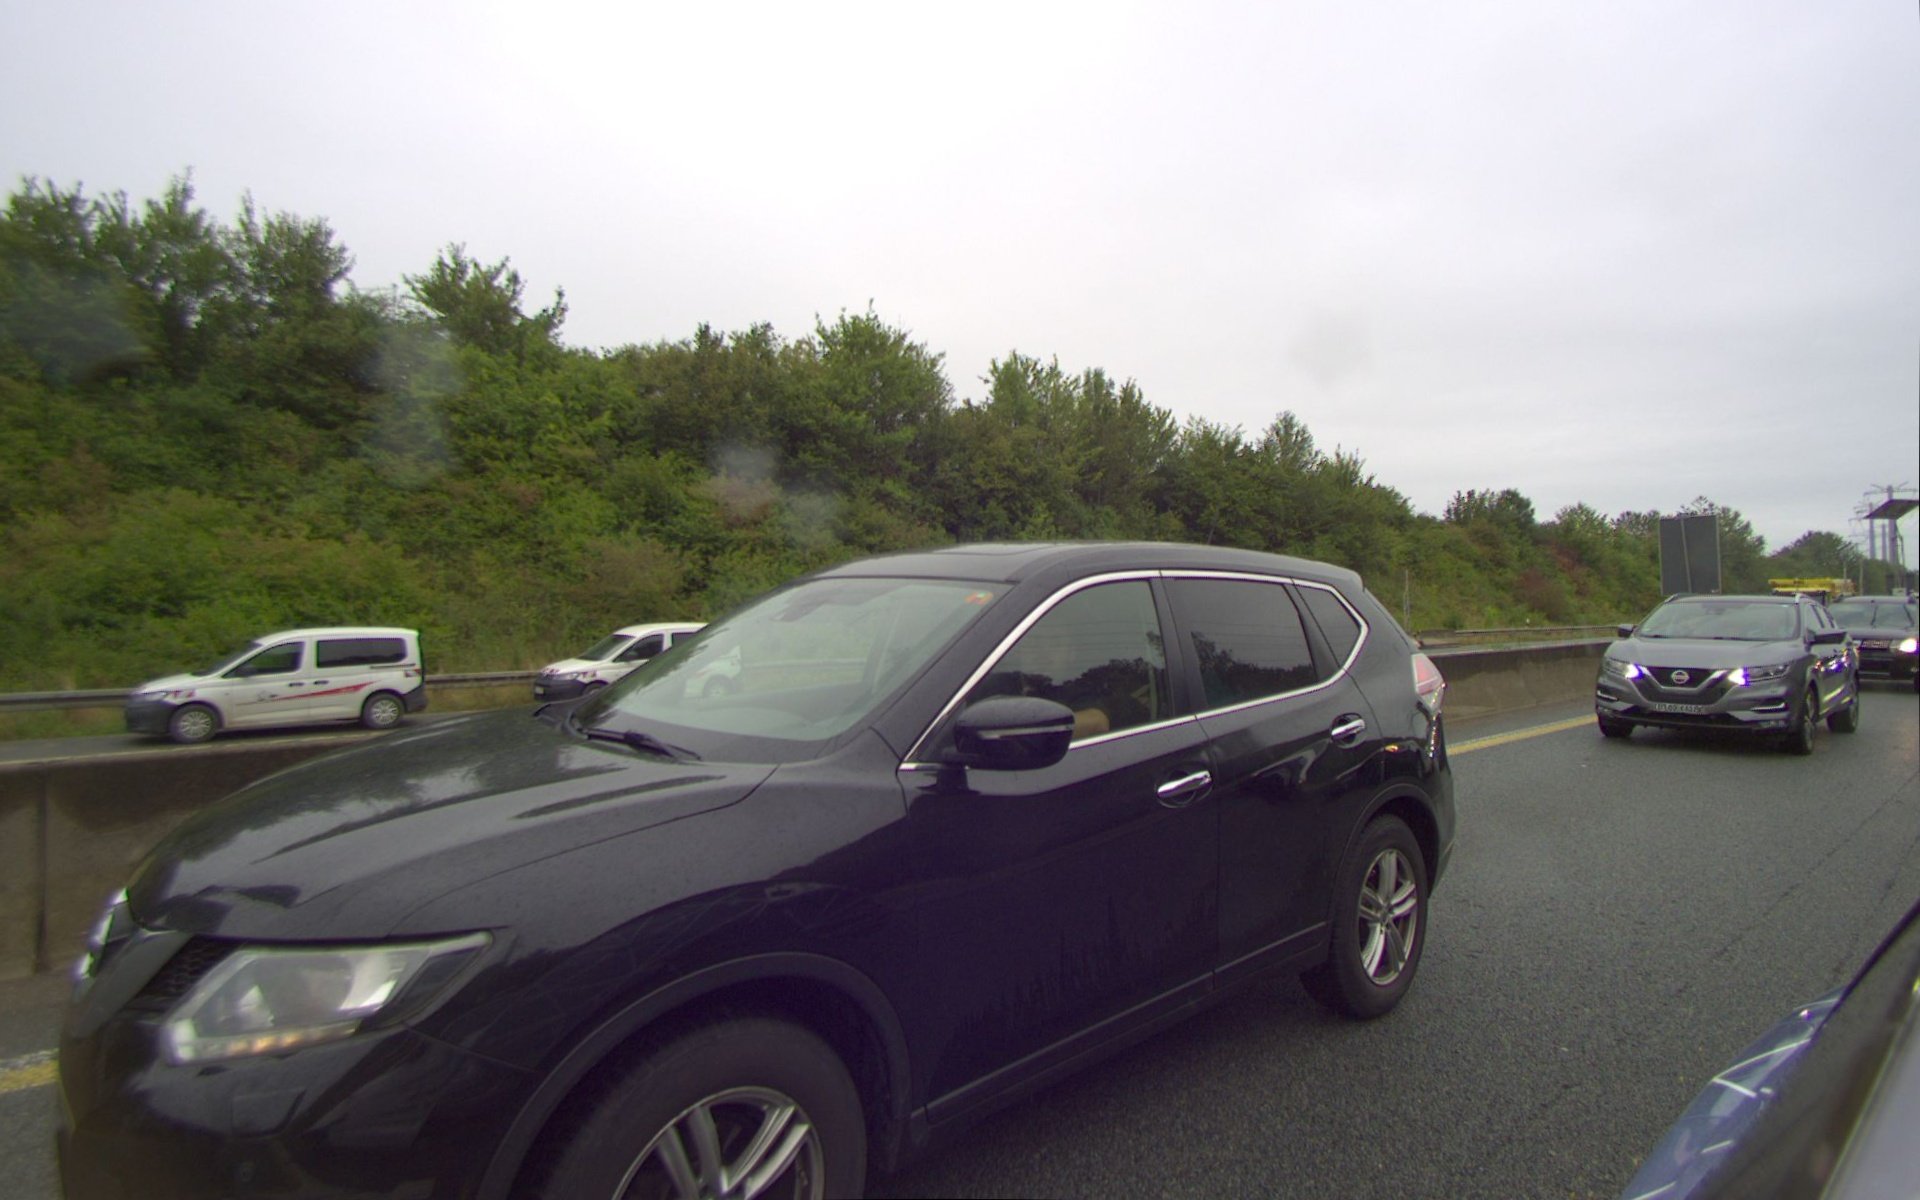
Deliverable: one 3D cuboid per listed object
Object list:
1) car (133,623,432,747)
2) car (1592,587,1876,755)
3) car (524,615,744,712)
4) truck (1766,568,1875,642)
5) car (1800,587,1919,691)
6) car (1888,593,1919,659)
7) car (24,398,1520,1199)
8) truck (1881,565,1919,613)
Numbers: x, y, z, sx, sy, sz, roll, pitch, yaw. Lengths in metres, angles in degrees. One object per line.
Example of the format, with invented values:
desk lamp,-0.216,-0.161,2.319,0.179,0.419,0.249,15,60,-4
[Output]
car,-11.843,1.377,17.854,4.195,1.780,1.731,-1,1,-42
car,8.627,0.621,11.151,4.053,1.509,1.782,-1,1,-42
car,-7.035,1.289,22.080,4.255,1.792,1.731,-1,1,-42
truck,43.721,0.196,51.294,9.405,3.467,2.618,-1,0,-40
car,16.220,0.592,17.702,4.053,1.618,1.782,-1,1,-42
car,24.143,0.596,24.727,4.053,1.509,1.782,-1,1,-42
car,0.009,0.589,3.392,4.561,1.696,1.892,-1,1,-42
truck,73.098,-0.840,76.913,9.405,3.467,3.328,-1,1,-40
